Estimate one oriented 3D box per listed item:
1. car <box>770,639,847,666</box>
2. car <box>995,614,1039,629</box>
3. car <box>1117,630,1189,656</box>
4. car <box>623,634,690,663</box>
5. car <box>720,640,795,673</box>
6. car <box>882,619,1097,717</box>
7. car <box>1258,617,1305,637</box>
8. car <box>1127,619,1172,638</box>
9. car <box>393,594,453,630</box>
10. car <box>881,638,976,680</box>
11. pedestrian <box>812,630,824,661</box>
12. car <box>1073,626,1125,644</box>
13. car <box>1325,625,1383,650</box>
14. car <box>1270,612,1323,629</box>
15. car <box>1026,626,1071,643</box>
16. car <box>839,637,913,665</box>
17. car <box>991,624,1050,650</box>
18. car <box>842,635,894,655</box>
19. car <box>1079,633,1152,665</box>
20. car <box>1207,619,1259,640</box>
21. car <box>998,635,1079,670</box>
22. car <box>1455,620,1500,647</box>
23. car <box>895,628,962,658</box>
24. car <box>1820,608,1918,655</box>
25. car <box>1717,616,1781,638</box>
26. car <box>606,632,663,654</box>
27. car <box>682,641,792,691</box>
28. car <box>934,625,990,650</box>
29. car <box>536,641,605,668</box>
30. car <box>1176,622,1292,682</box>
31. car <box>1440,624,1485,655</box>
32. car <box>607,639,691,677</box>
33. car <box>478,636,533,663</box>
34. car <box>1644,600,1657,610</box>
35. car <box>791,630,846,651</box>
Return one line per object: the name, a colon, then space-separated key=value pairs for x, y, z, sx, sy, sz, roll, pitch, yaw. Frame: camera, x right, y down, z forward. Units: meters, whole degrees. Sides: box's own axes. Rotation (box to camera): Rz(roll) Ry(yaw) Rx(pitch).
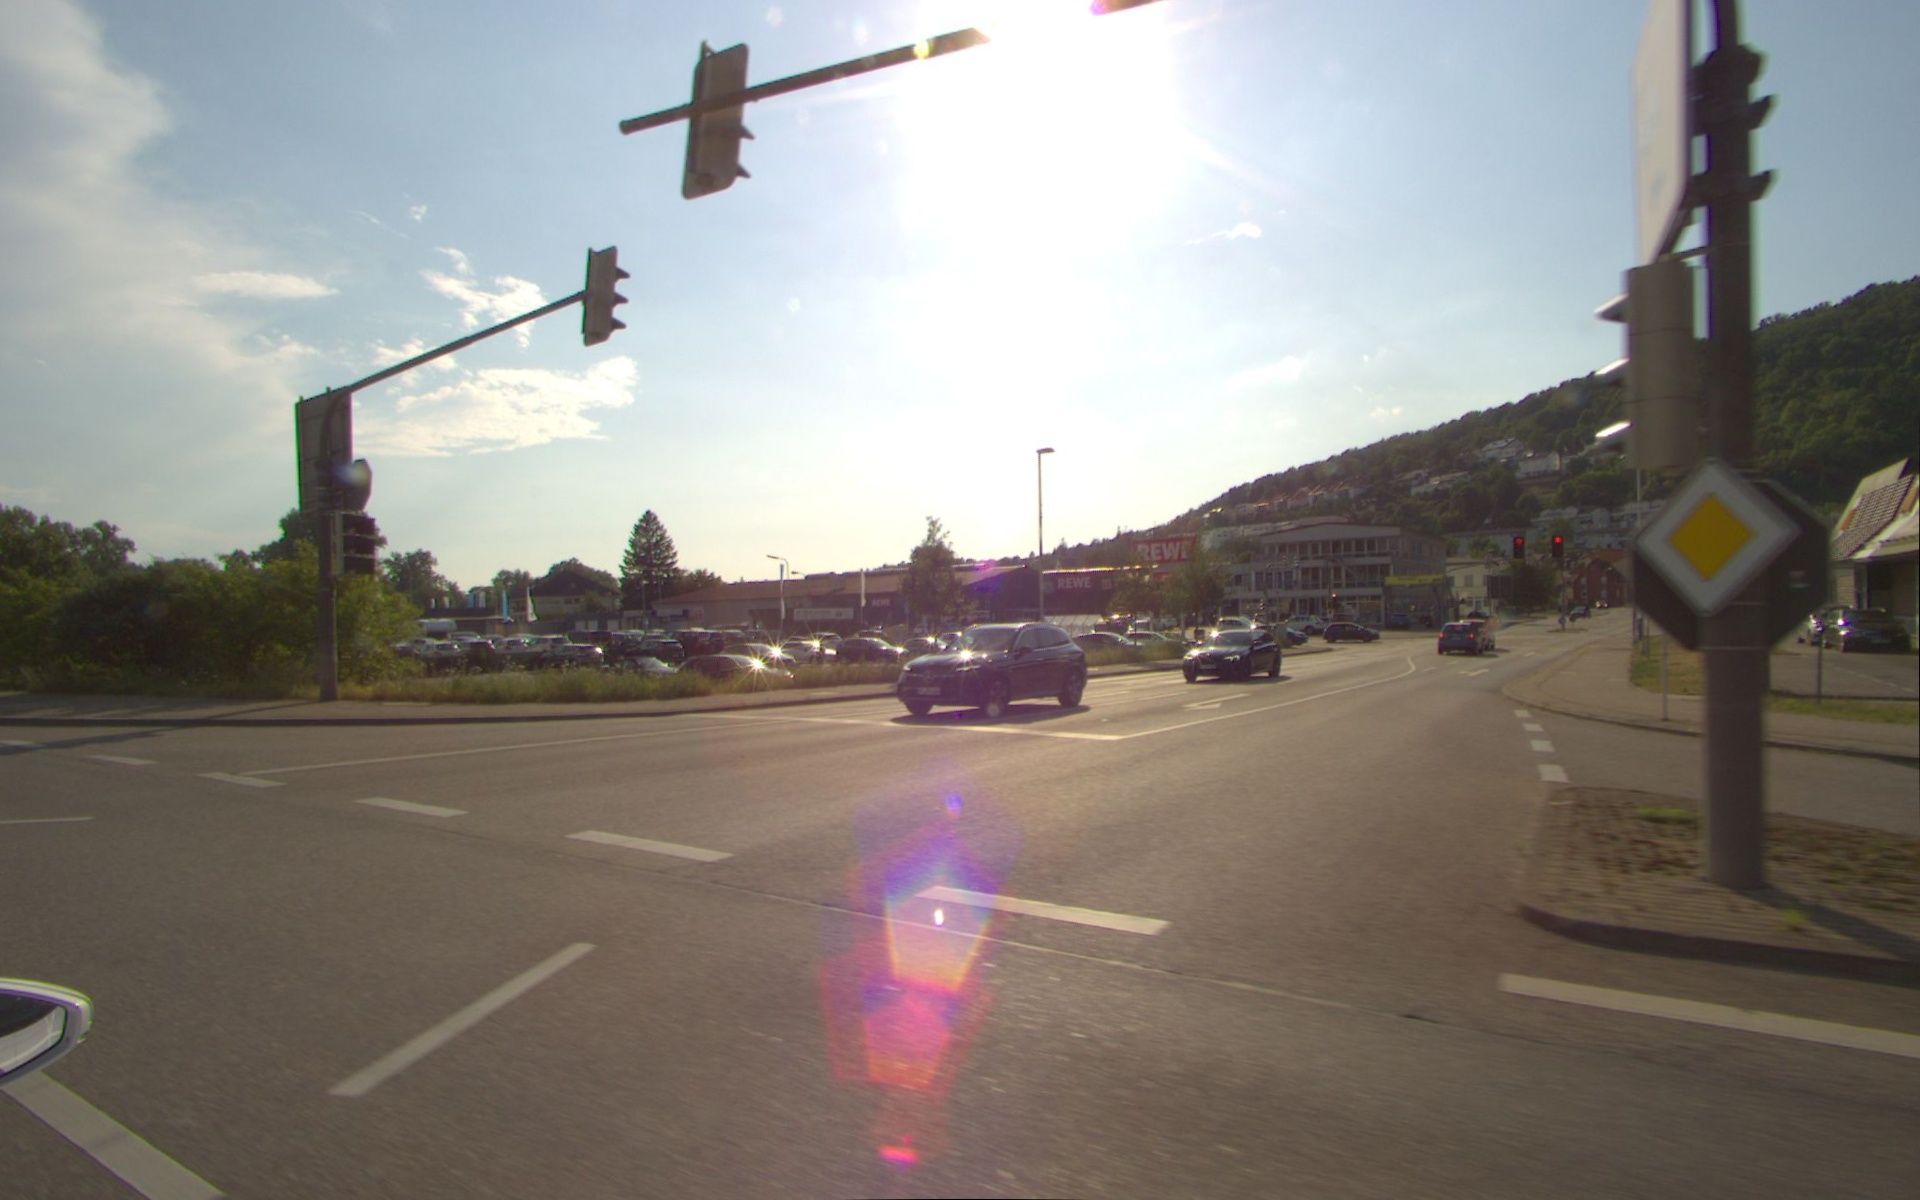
car: x=-9.053 y=3.120 z=59.700 sx=4.474 sy=1.526 sz=1.898 roll=-2 pitch=-3 yaw=35
car: x=6.351 y=2.424 z=111.484 sx=4.518 sy=1.609 sz=1.828 roll=-1 pitch=0 yaw=31
car: x=11.662 y=2.594 z=60.576 sx=3.943 sy=1.527 sz=1.722 roll=-2 pitch=-2 yaw=32
car: x=-19.390 y=3.100 z=63.988 sx=4.069 sy=1.725 sz=1.828 roll=-1 pitch=0 yaw=31
car: x=-10.275 y=2.840 z=50.653 sx=3.706 sy=1.650 sz=1.590 roll=-2 pitch=-2 yaw=33
car: x=0.692 y=1.220 z=18.923 sx=1.974 sy=1.605 sz=4.444 roll=-2 pitch=-3 yaw=35
car: x=30.536 y=2.572 z=95.162 sx=3.943 sy=1.772 sz=1.991 roll=-2 pitch=-2 yaw=32
car: x=19.070 y=2.894 z=100.809 sx=3.943 sy=1.772 sz=1.991 roll=-2 pitch=-2 yaw=32
car: x=-40.493 y=0.947 z=75.436 sx=5.397 sy=2.581 sz=1.750 roll=-2 pitch=-2 yaw=36
car: x=-1.318 y=2.413 z=41.328 sx=3.706 sy=1.650 sz=1.590 roll=-2 pitch=-2 yaw=33
pedestrian: x=-6.881 y=2.191 z=48.441 sx=0.375 sy=1.477 sz=0.564 roll=1 pitch=-2 yaw=-32
car: x=12.703 y=3.223 z=91.665 sx=4.277 sy=1.583 sz=1.828 roll=-1 pitch=0 yaw=31
car: x=28.906 y=2.774 z=73.529 sx=3.932 sy=1.749 sz=1.603 roll=-1 pitch=-2 yaw=22
car: x=28.932 y=1.789 z=86.208 sx=3.949 sy=1.438 sz=1.838 roll=-2 pitch=-3 yaw=36
car: x=8.380 y=3.272 z=94.652 sx=3.853 sy=1.583 sz=1.826 roll=-1 pitch=0 yaw=35
car: x=-4.730 y=2.867 z=56.452 sx=3.943 sy=1.527 sz=1.722 roll=-2 pitch=-2 yaw=32
car: x=4.178 y=2.590 z=69.205 sx=3.705 sy=1.772 sz=1.795 roll=-2 pitch=-2 yaw=33
car: x=-7.369 y=3.588 z=80.096 sx=3.942 sy=1.527 sz=1.722 roll=-1 pitch=-2 yaw=32
car: x=8.763 y=2.748 z=56.454 sx=3.706 sy=1.772 sz=1.795 roll=-2 pitch=-2 yaw=33
car: x=23.833 y=2.601 z=87.379 sx=3.943 sy=1.772 sz=1.991 roll=-2 pitch=-2 yaw=32
car: x=3.857 y=2.574 z=49.348 sx=3.706 sy=1.650 sz=1.590 roll=-2 pitch=-2 yaw=33
car: x=28.569 y=1.845 z=55.230 sx=1.668 sy=1.438 sz=3.630 roll=-2 pitch=-3 yaw=37
car: x=-1.935 y=2.594 z=60.654 sx=3.705 sy=1.772 sz=1.795 roll=-2 pitch=-2 yaw=33
car: x=31.193 y=1.057 z=34.477 sx=1.835 sy=1.476 sz=3.977 roll=-2 pitch=-1 yaw=33
car: x=63.486 y=2.180 z=80.660 sx=3.950 sy=1.690 sz=1.818 roll=-2 pitch=-3 yaw=37
car: x=-22.424 y=2.973 z=69.001 sx=3.947 sy=1.527 sz=1.721 roll=-2 pitch=-3 yaw=35
car: x=-7.668 y=2.230 z=34.400 sx=3.706 sy=1.650 sz=1.590 roll=-2 pitch=-2 yaw=33
car: x=0.158 y=2.740 z=72.265 sx=3.705 sy=1.772 sz=1.795 roll=-2 pitch=-2 yaw=33
car: x=-22.660 y=3.158 z=58.178 sx=3.943 sy=1.527 sz=1.722 roll=-2 pitch=-2 yaw=32
car: x=8.008 y=1.482 z=29.087 sx=1.675 sy=1.616 sz=3.968 roll=-2 pitch=-3 yaw=42
car: x=24.981 y=1.966 z=49.733 sx=1.555 sy=1.504 sz=3.306 roll=-2 pitch=-3 yaw=34
car: x=-13.802 y=2.546 z=44.406 sx=3.706 sy=1.650 sz=1.590 roll=-2 pitch=-2 yaw=33
car: x=-27.973 y=3.051 z=61.606 sx=3.302 sy=1.644 sz=1.607 roll=-2 pitch=-2 yaw=33
car: x=108.344 y=0.812 z=157.210 sx=1.565 sy=1.414 sz=3.362 roll=-2 pitch=-3 yaw=33
car: x=-10.771 y=3.076 z=76.187 sx=3.943 sy=1.527 sz=1.722 roll=-2 pitch=-2 yaw=32
